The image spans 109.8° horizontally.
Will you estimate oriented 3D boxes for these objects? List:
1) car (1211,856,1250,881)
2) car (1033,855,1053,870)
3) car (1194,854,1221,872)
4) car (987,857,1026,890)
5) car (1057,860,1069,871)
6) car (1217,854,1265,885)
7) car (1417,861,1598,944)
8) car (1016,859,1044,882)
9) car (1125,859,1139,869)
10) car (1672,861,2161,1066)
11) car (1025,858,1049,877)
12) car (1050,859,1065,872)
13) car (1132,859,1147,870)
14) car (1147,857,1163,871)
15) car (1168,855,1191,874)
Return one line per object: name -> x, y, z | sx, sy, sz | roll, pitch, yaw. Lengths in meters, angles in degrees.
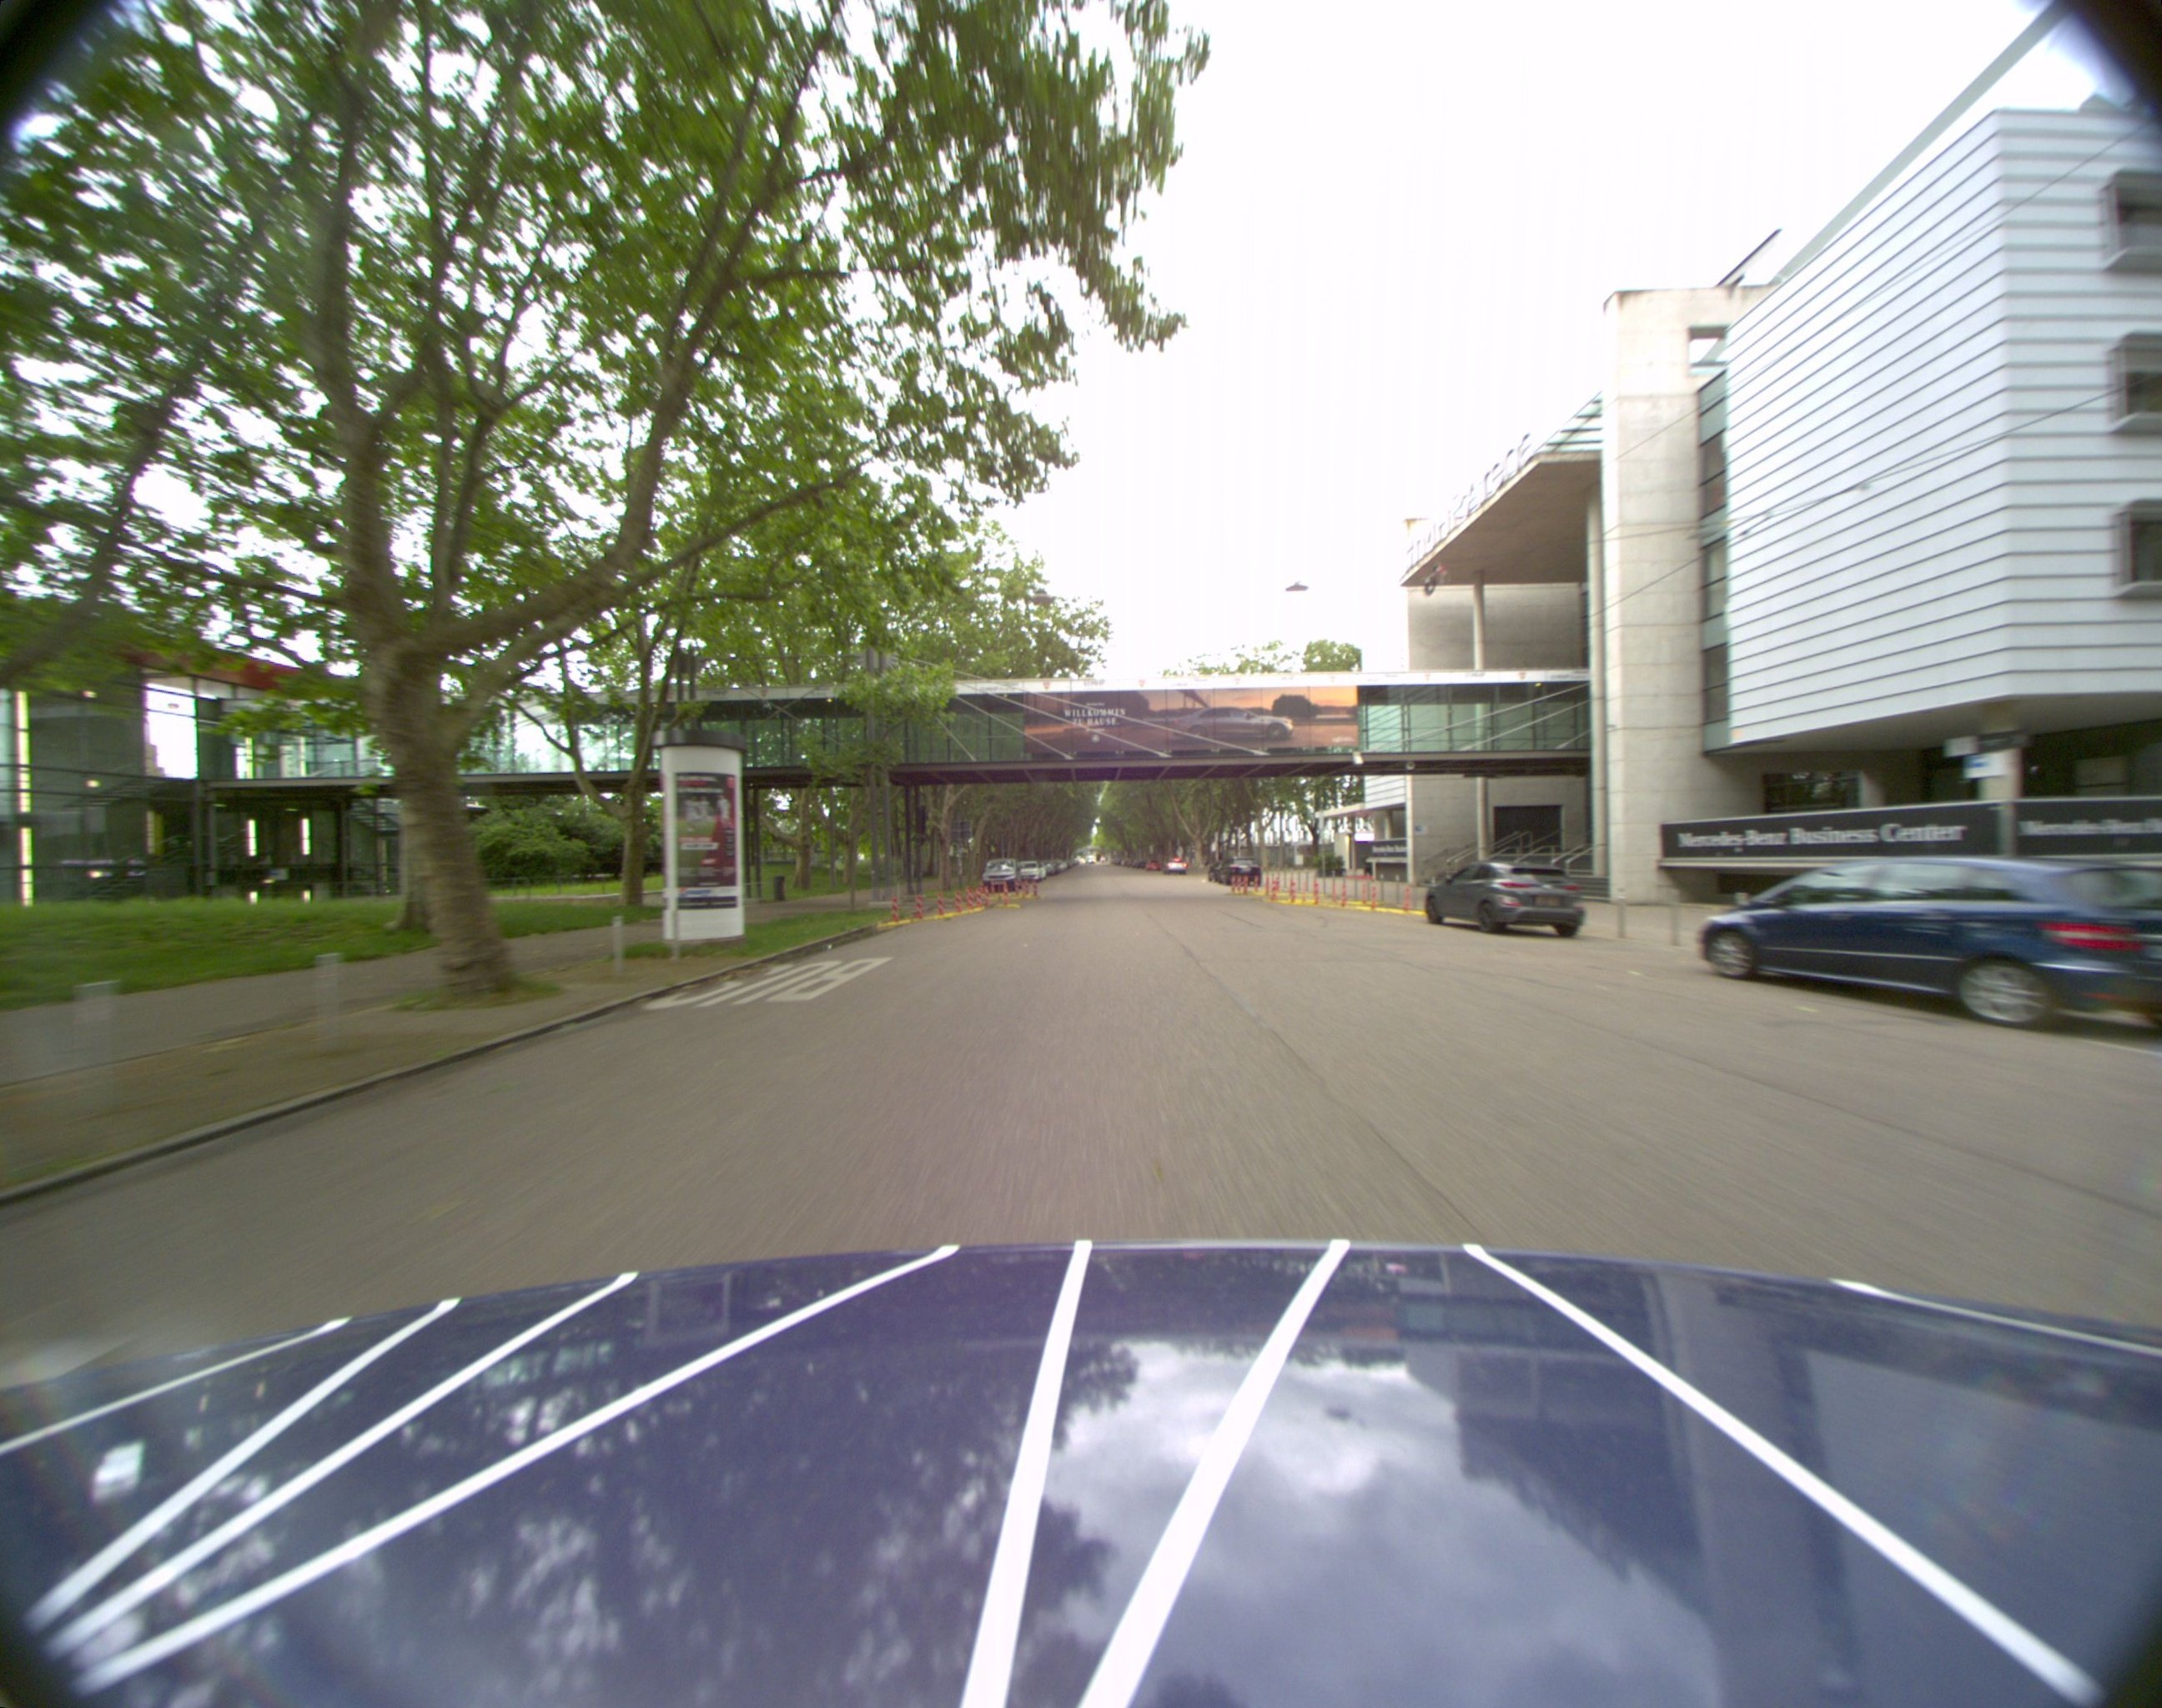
car -> 9.955, 0.948, 50.903 | 1.781, 1.461, 4.145 | 2, 0, 1
car -> -4.010, 0.875, 80.657 | 1.921, 1.561, 4.497 | -1, 0, -1
car -> 10.865, 0.746, 65.220 | 1.661, 1.461, 3.803 | 2, 0, 1
car -> -4.053, 1.032, 42.047 | 1.757, 1.687, 4.497 | -1, 0, -1
car -> -2.874, 1.827, 121.854 | 1.921, 1.561, 4.497 | -1, 0, -1
car -> 9.529, 0.886, 45.572 | 1.929, 1.721, 4.233 | 2, 0, 1
car -> 9.232, 0.966, 16.878 | 1.758, 1.505, 4.009 | 2, 0, 1
car -> -3.851, 1.213, 57.945 | 1.921, 1.561, 4.497 | -1, 0, -1
car -> 8.621, 1.733, 128.637 | 1.921, 1.561, 4.497 | -1, 0, -1
car -> 9.055, 0.923, 8.244 | 1.758, 1.557, 4.386 | 3, 0, -1
car -> -3.839, 1.178, 67.124 | 1.921, 1.561, 4.497 | -1, 0, -1
car -> -3.239, 1.586, 105.991 | 1.921, 1.561, 4.497 | -1, 0, -1
car -> 9.010, 1.609, 117.053 | 1.921, 1.561, 4.497 | -1, 0, -1
car -> 9.601, 1.320, 98.793 | 1.757, 1.652, 4.000 | -2, 0, 1
car -> 9.575, 1.001, 74.290 | 1.757, 1.652, 4.000 | -2, 0, 1
